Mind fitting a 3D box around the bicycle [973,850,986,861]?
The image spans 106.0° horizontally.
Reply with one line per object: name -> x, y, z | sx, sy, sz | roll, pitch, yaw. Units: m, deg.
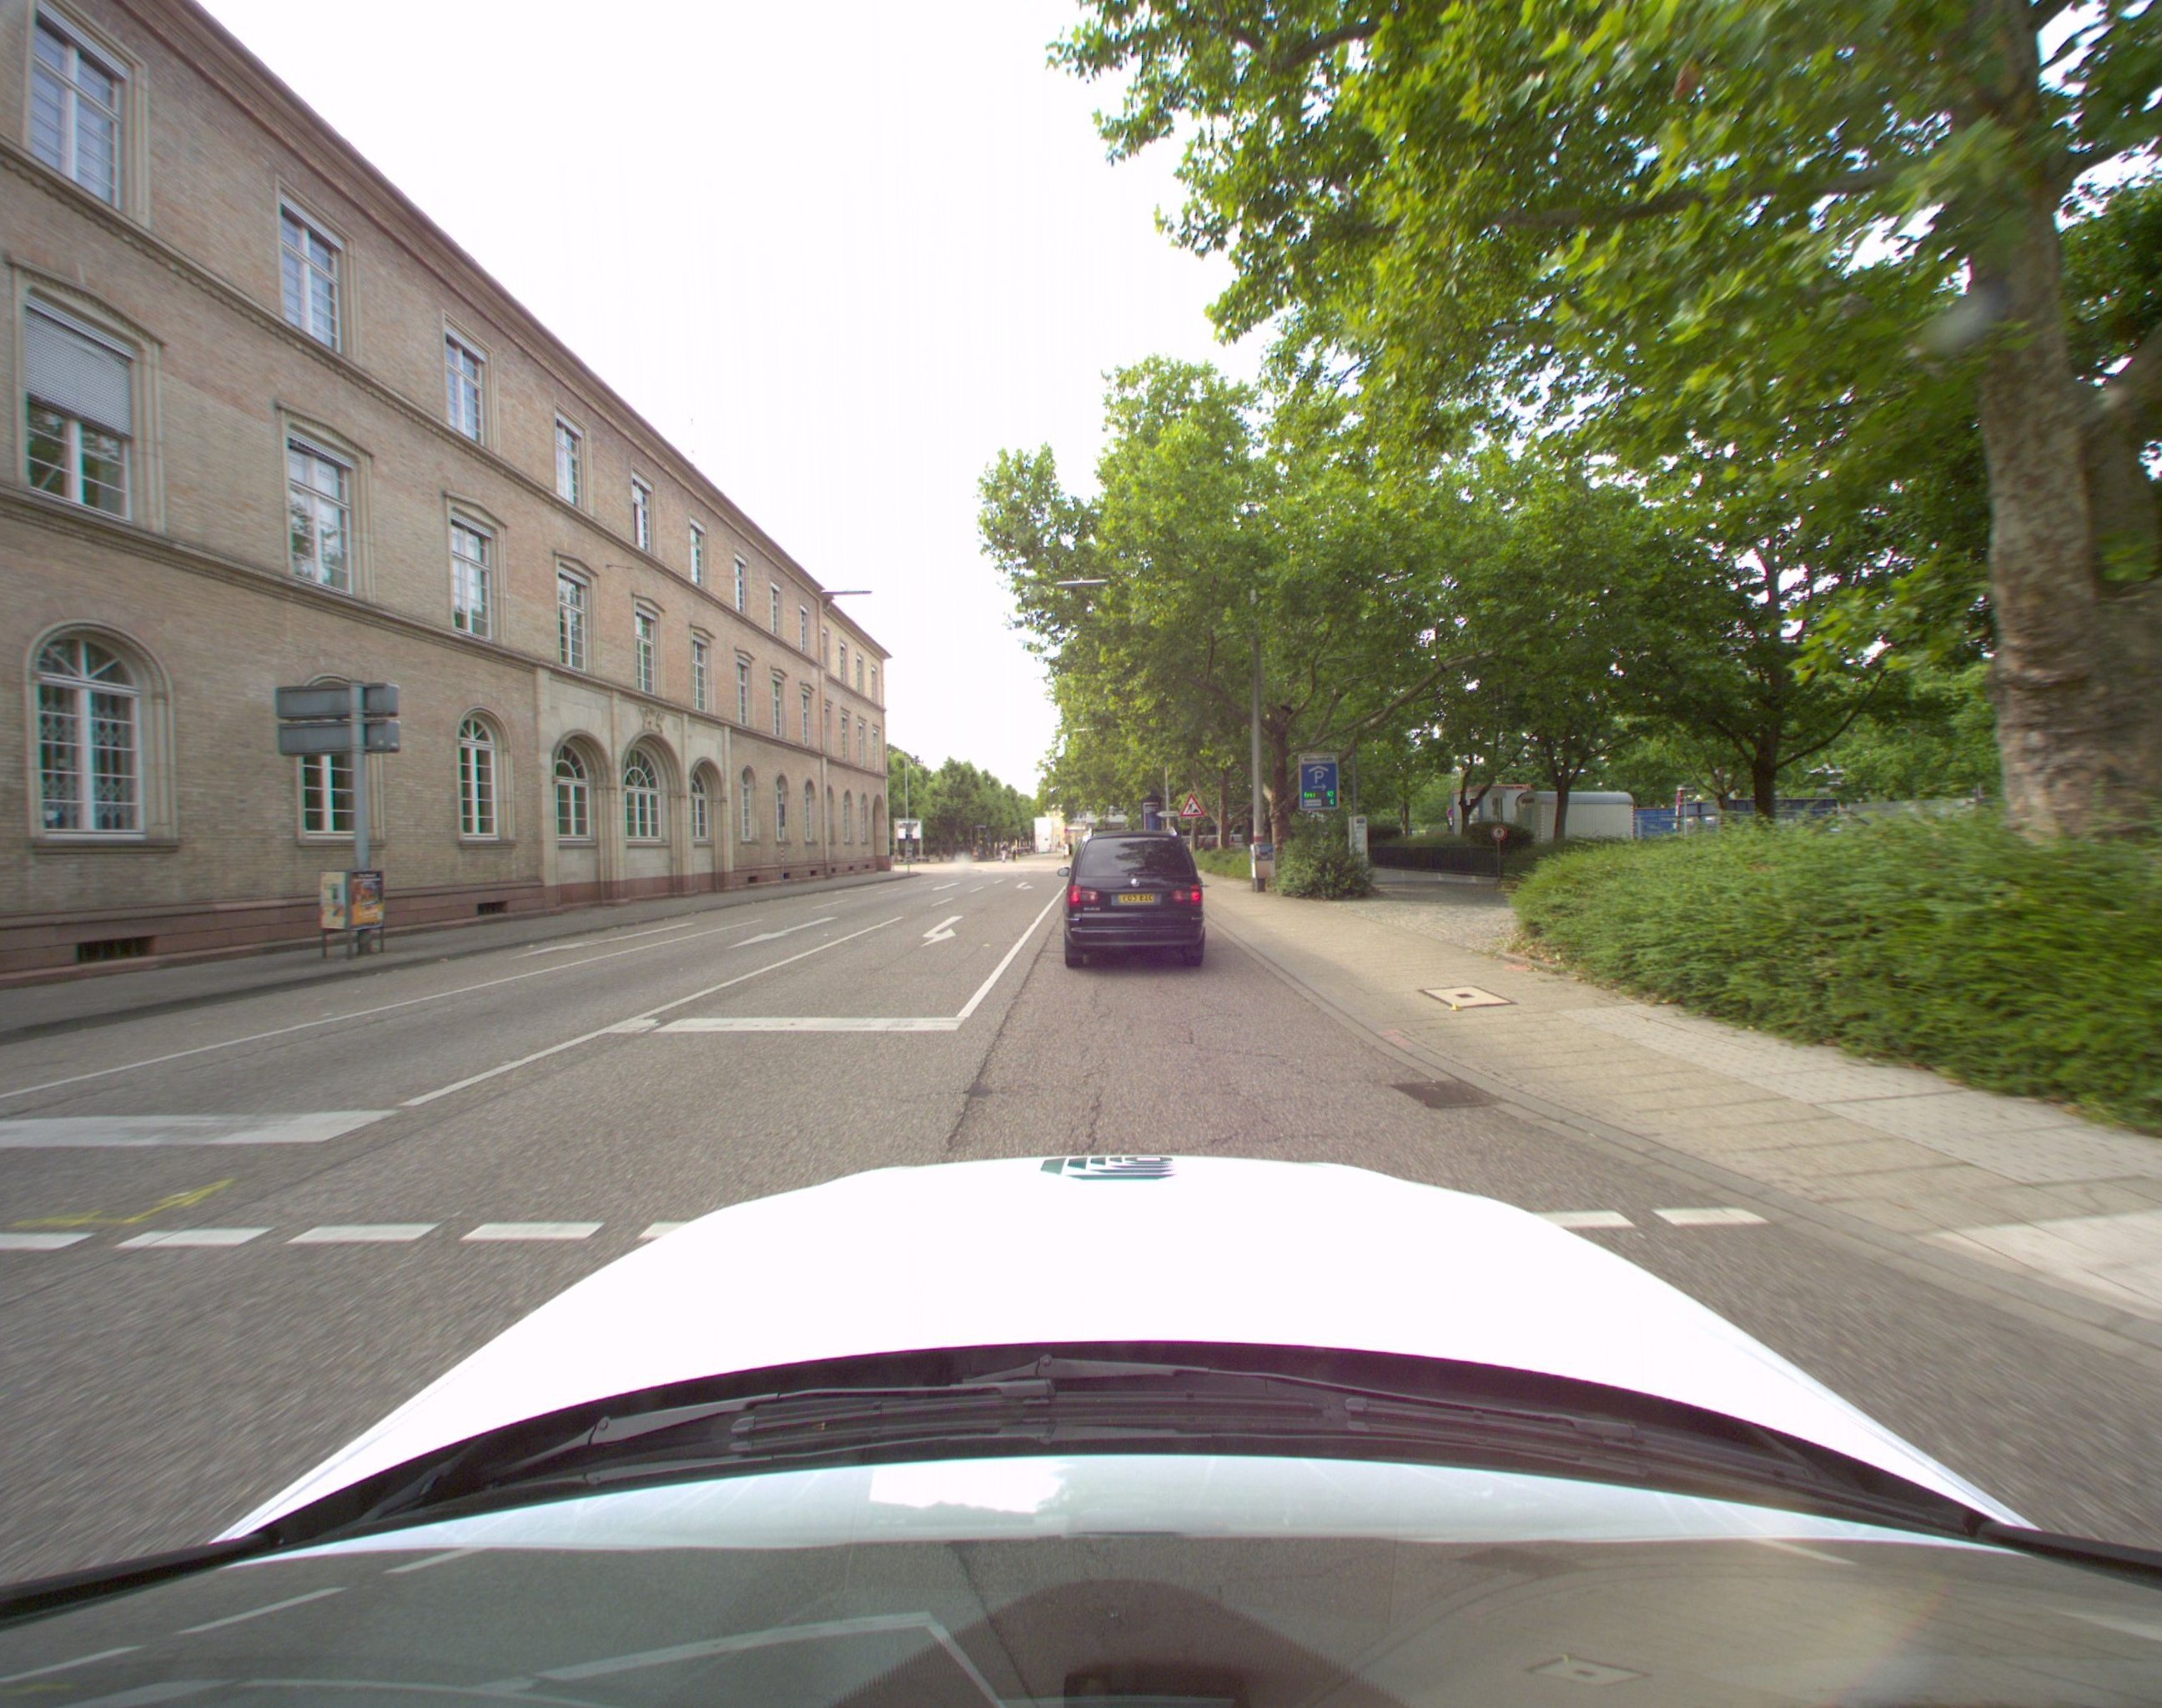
bicycle -> -10.706, 0.107, 85.815 | 0.954, 1.110, 2.566 | 0, 1, -16

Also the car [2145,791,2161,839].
car -> 47.037, -1.632, 32.823 | 1.989, 2.013, 4.768 | 0, 1, -3

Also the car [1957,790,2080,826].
car -> 56.931, -2.774, 49.623 | 1.988, 2.013, 4.771 | 0, 1, -2

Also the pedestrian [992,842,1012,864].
pedestrian -> -6.406, -0.066, 65.970 | 0.951, 1.741, 1.264 | 1, 1, 40

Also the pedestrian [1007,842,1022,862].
pedestrian -> -5.347, -0.162, 65.718 | 0.887, 1.641, 0.858 | 0, 1, 37

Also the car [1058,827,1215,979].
car -> 0.638, 0.537, 11.579 | 1.788, 1.708, 4.130 | -2, 1, 0
